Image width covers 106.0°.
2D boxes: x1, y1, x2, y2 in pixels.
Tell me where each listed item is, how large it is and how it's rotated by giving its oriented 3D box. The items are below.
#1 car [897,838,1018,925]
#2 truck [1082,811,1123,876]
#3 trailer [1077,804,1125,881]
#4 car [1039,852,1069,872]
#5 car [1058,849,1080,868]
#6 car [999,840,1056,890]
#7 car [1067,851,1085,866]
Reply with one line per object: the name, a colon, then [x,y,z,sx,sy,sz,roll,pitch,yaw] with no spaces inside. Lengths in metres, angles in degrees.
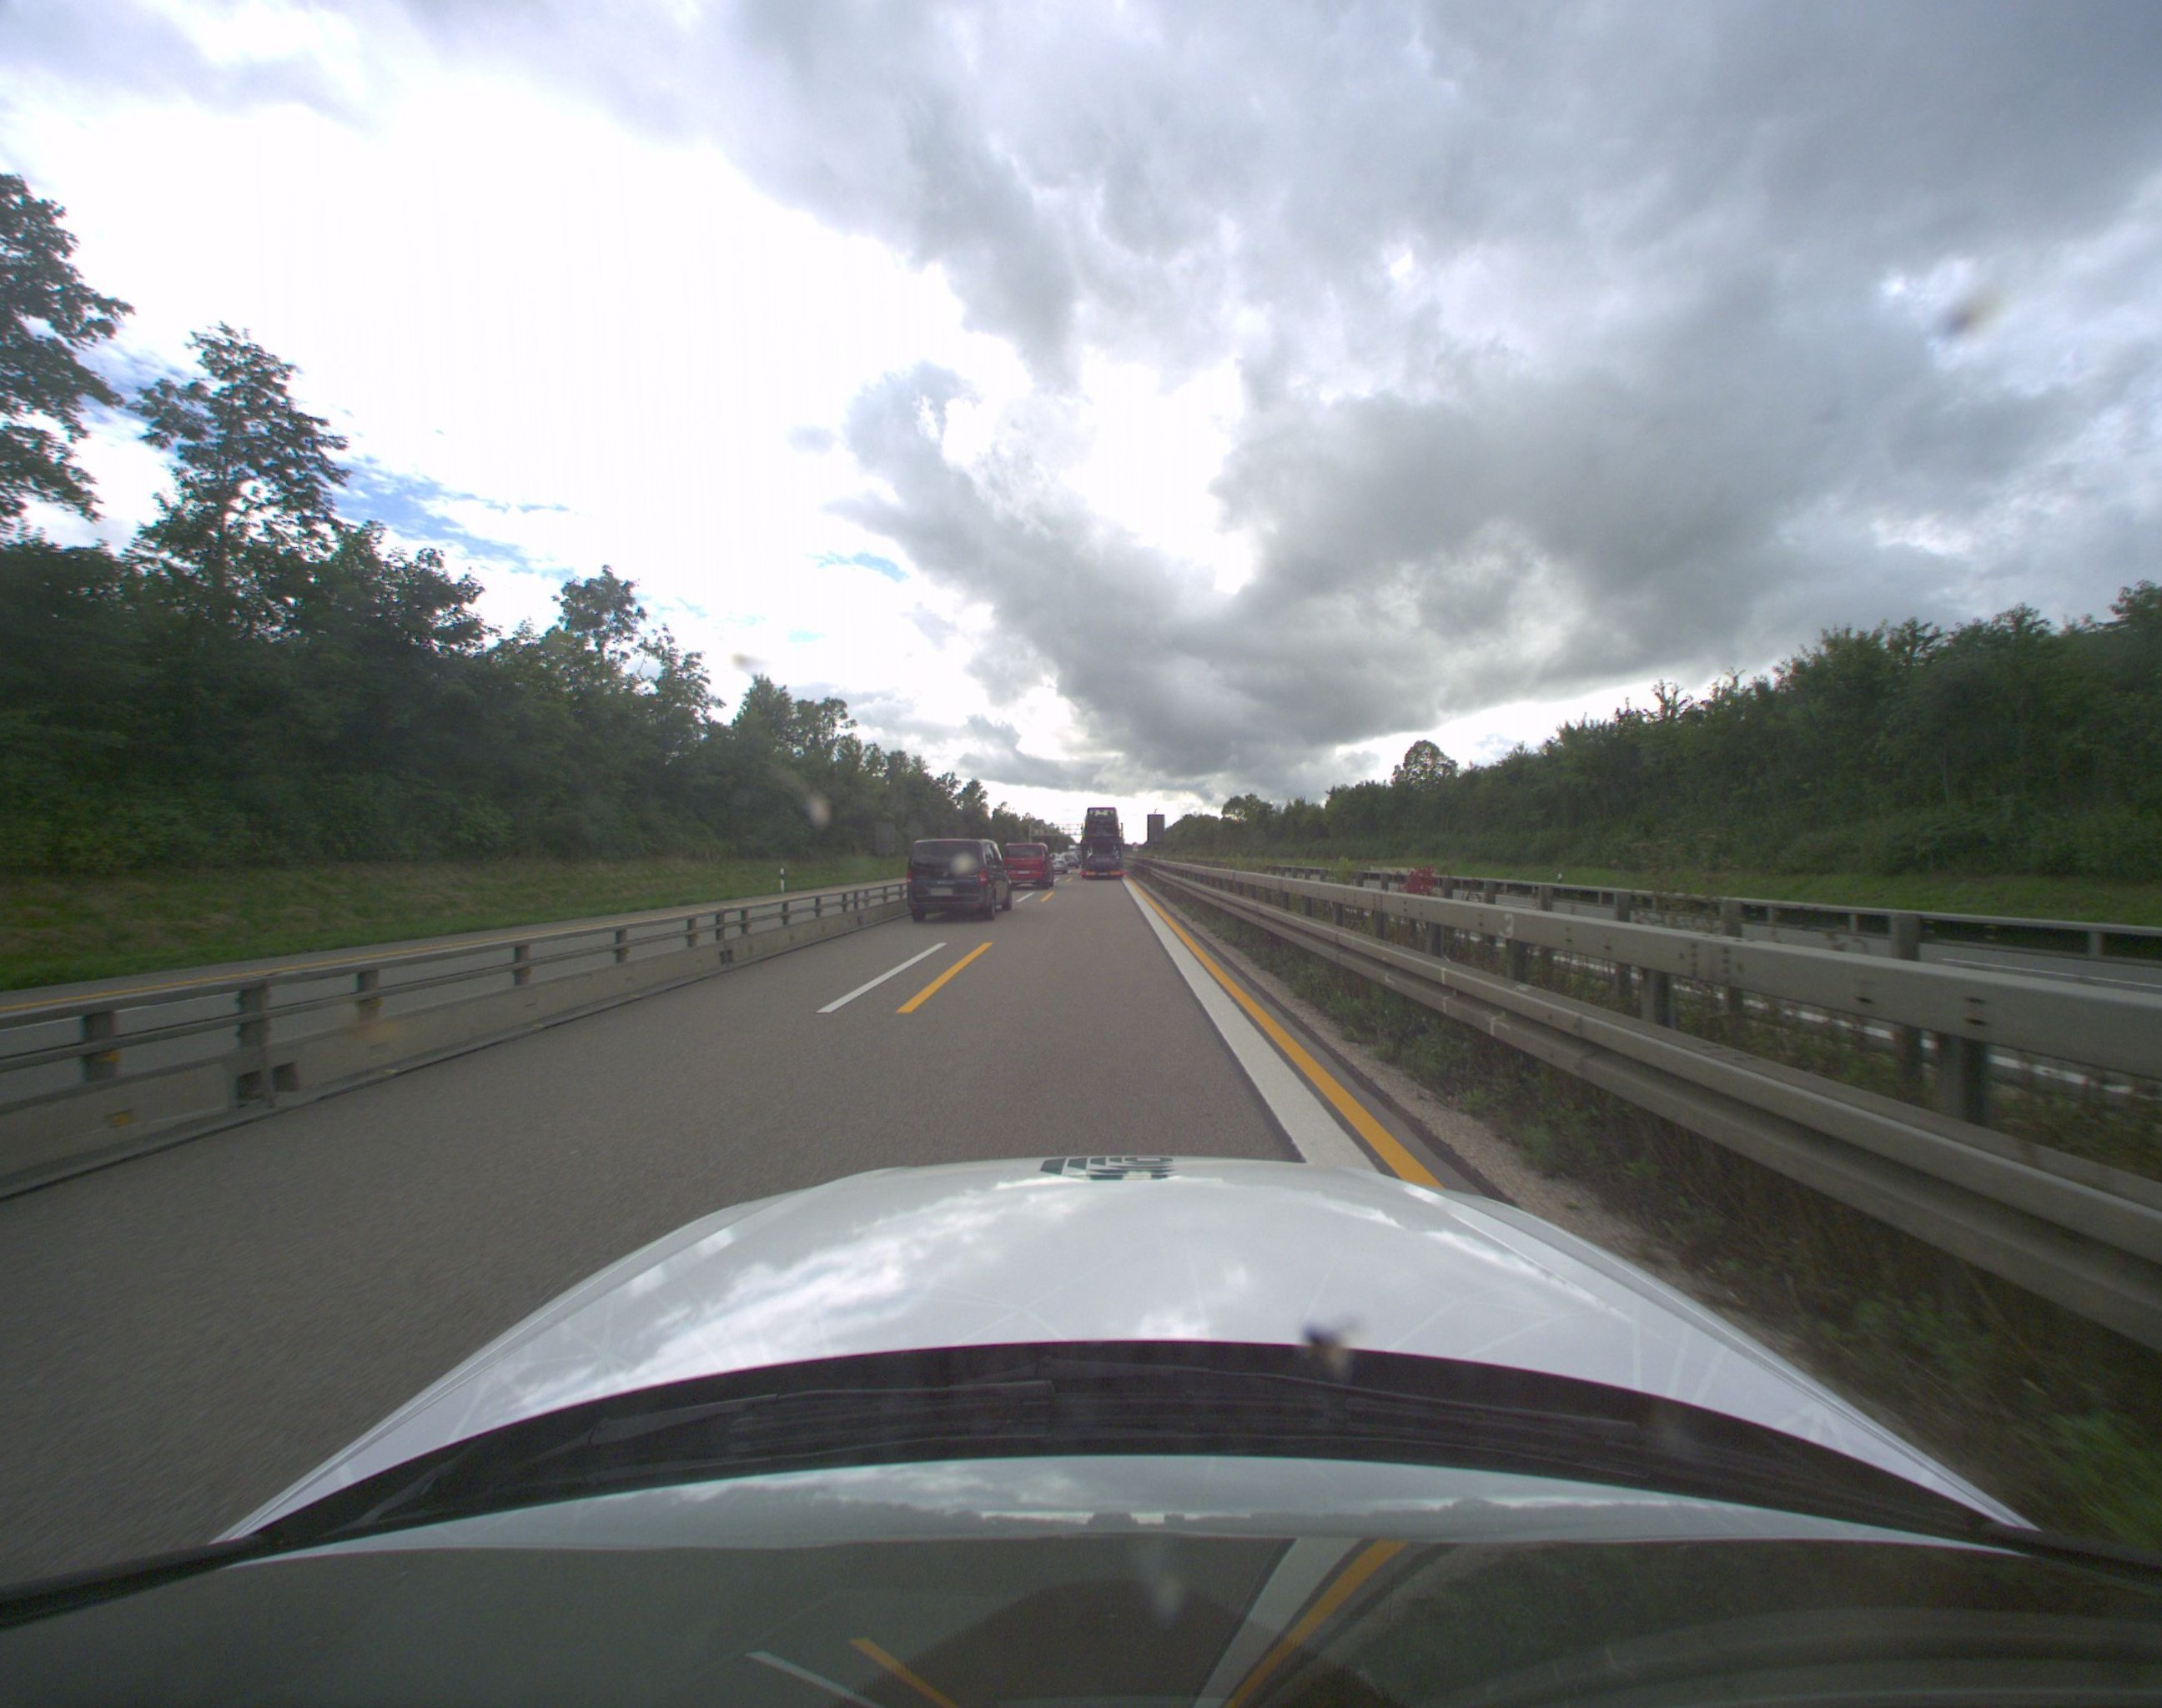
car: [-2.896,0.587,20.472,1.986,1.843,5.611,-1,0,2]
truck: [1.485,-0.653,54.440,2.505,4.105,5.688,-1,0,2]
trailer: [1.304,-0.634,49.770,2.505,4.105,11.119,-1,0,2]
car: [-1.956,0.571,60.467,2.024,1.430,4.578,-1,0,1]
car: [-1.131,0.450,80.068,2.024,1.757,4.578,-1,0,1]
car: [-2.272,0.447,35.691,2.023,2.013,4.579,-1,0,2]
car: [-0.585,0.555,97.292,2.024,1.757,4.578,-1,0,1]
